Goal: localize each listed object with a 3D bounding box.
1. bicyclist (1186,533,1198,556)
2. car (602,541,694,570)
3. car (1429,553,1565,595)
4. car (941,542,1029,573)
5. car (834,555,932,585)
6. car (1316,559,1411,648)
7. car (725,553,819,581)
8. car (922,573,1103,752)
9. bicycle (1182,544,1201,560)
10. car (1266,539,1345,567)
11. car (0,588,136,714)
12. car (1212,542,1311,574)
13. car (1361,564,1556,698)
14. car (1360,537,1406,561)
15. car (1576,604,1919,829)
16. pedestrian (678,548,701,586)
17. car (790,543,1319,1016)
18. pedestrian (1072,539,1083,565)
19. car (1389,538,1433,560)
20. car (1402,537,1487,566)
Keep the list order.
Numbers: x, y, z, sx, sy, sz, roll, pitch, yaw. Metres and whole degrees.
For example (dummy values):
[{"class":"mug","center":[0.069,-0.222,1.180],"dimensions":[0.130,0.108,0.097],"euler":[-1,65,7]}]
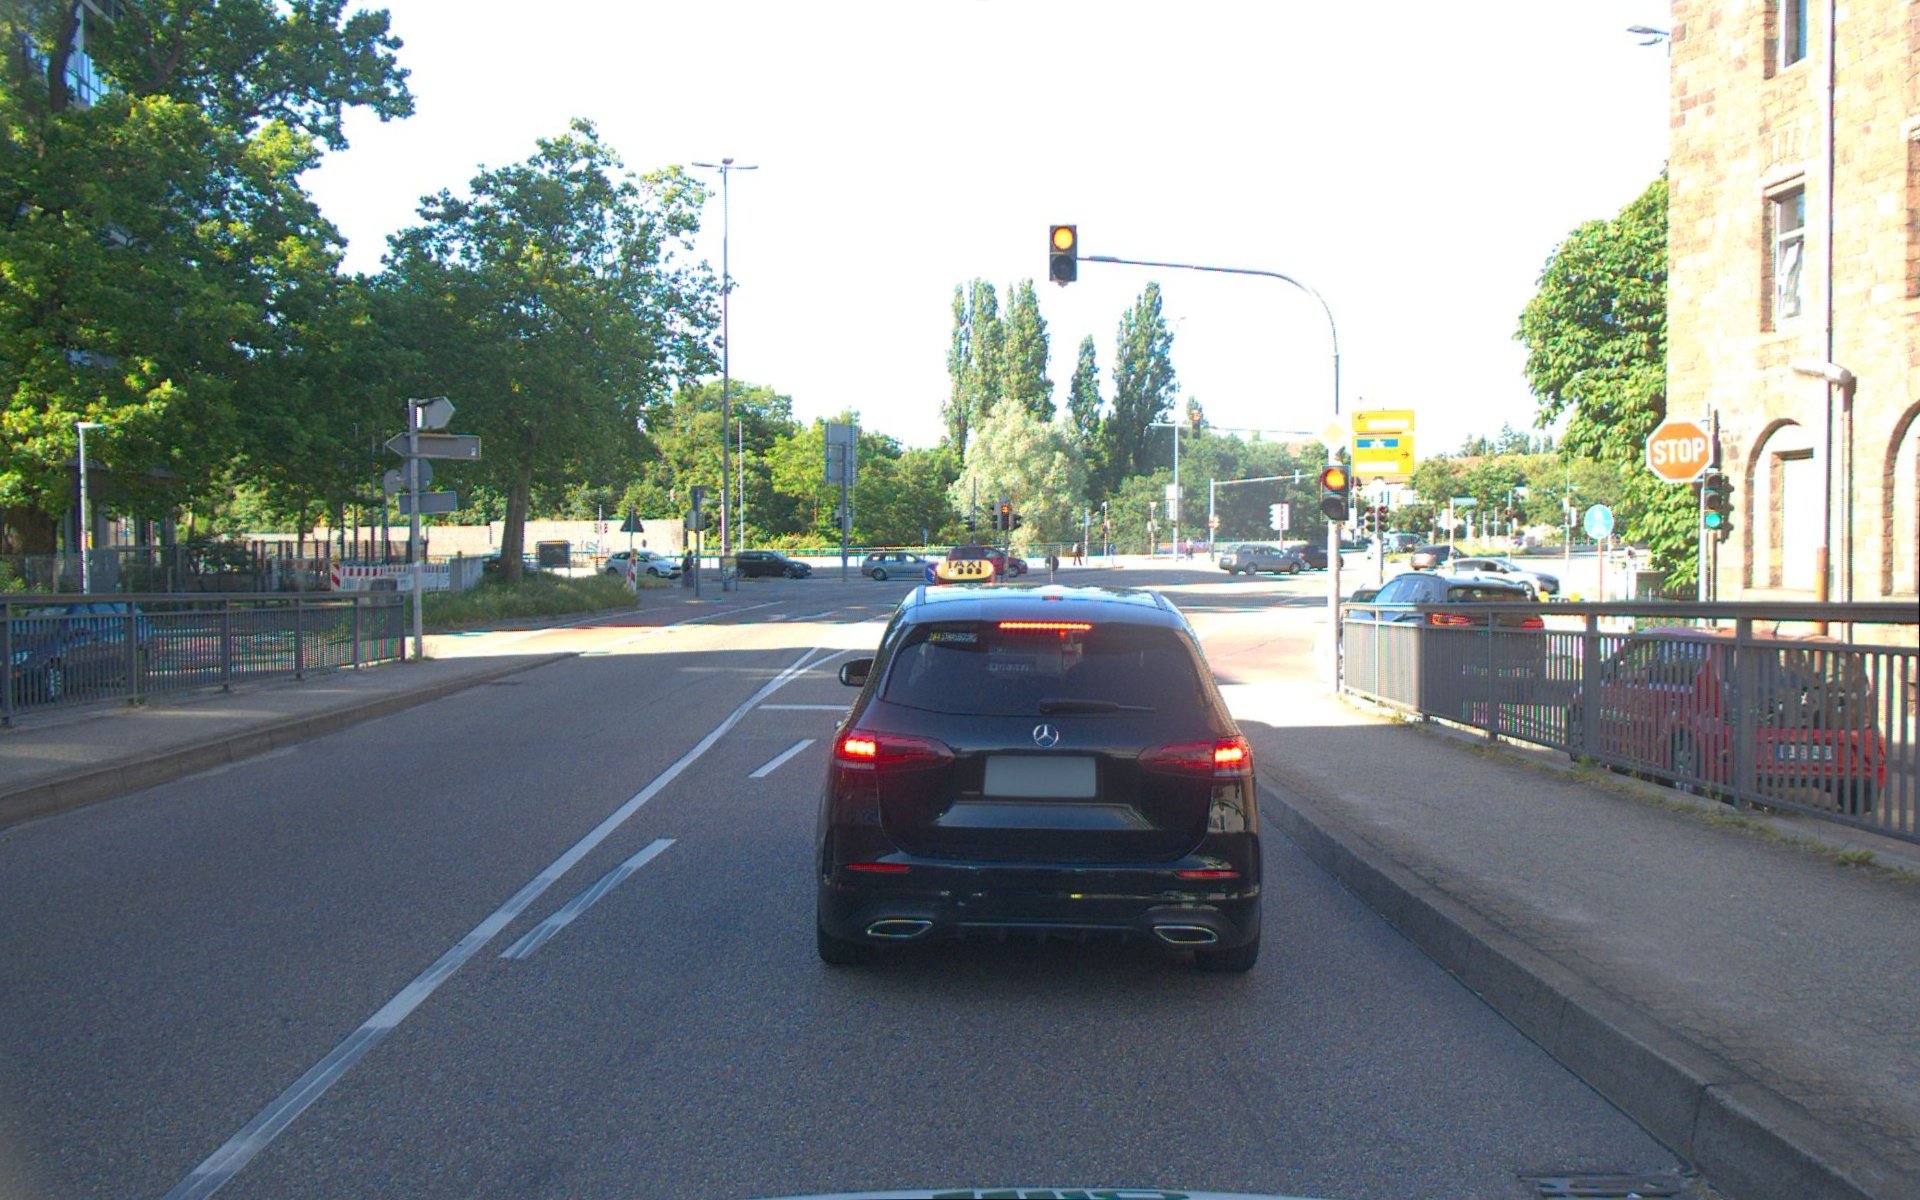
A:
[{"class":"bicyclist","center":[16.041,-3.864,114.555],"dimensions":[0.516,1.578,0.805],"euler":[-1,2,32]},{"class":"car","center":[-15.850,-2.258,84.048],"dimensions":[4.217,1.389,1.998],"euler":[0,3,27]},{"class":"car","center":[18.530,-0.905,57.118],"dimensions":[4.141,1.317,1.996],"euler":[0,3,32]},{"class":"car","center":[1.254,-2.197,85.048],"dimensions":[4.444,1.481,2.000],"euler":[-1,3,-1]},{"class":"car","center":[-3.732,-1.471,80.315],"dimensions":[4.482,1.317,2.002],"euler":[-1,3,6]},{"class":"car","center":[8.549,0.020,35.331],"dimensions":[1.685,1.631,4.302],"euler":[1,3,10]},{"class":"car","center":[-9.830,-1.722,86.536],"dimensions":[4.484,1.317,1.887],"euler":[0,3,20]},{"class":"car","center":[0.521,0.539,16.724],"dimensions":[1.606,1.556,3.475],"euler":[-1,2,1]},{"class":"bicycle","center":[16.042,-3.359,114.577],"dimensions":[0.516,1.068,1.985],"euler":[-1,2,32]},{"class":"car","center":[18.931,-2.578,90.698],"dimensions":[4.015,1.381,1.773],"euler":[-3,3,-26]},{"class":"car","center":[-14.759,0.727,25.799],"dimensions":[1.814,1.722,4.000],"euler":[0,2,-1]},{"class":"car","center":[15.445,-2.155,84.712],"dimensions":[4.744,1.466,1.986],"euler":[-2,3,-24]},{"class":"car","center":[7.490,0.386,25.273],"dimensions":[1.686,1.843,4.298],"euler":[1,1,0]},{"class":"car","center":[29.448,-3.536,115.166],"dimensions":[1.846,1.605,3.987],"euler":[1,2,35]},{"class":"car","center":[6.964,0.908,14.614],"dimensions":[1.686,1.548,3.486],"euler":[0,3,-1]},{"class":"pedestrian","center":[-11.102,-1.362,67.841],"dimensions":[0.690,1.552,0.744],"euler":[1,1,10]},{"class":"car","center":[0.308,0.609,7.834],"dimensions":[1.839,1.641,4.000],"euler":[1,1,-1]},{"class":"pedestrian","center":[7.376,-3.026,103.743],"dimensions":[0.443,1.613,0.499],"euler":[0,2,40]},{"class":"car","center":[32.851,-3.722,120.374],"dimensions":[1.846,1.605,3.987],"euler":[1,2,35]},{"class":"car","center":[26.617,-2.654,90.776],"dimensions":[4.225,1.466,1.986],"euler":[-2,3,-24]}]
